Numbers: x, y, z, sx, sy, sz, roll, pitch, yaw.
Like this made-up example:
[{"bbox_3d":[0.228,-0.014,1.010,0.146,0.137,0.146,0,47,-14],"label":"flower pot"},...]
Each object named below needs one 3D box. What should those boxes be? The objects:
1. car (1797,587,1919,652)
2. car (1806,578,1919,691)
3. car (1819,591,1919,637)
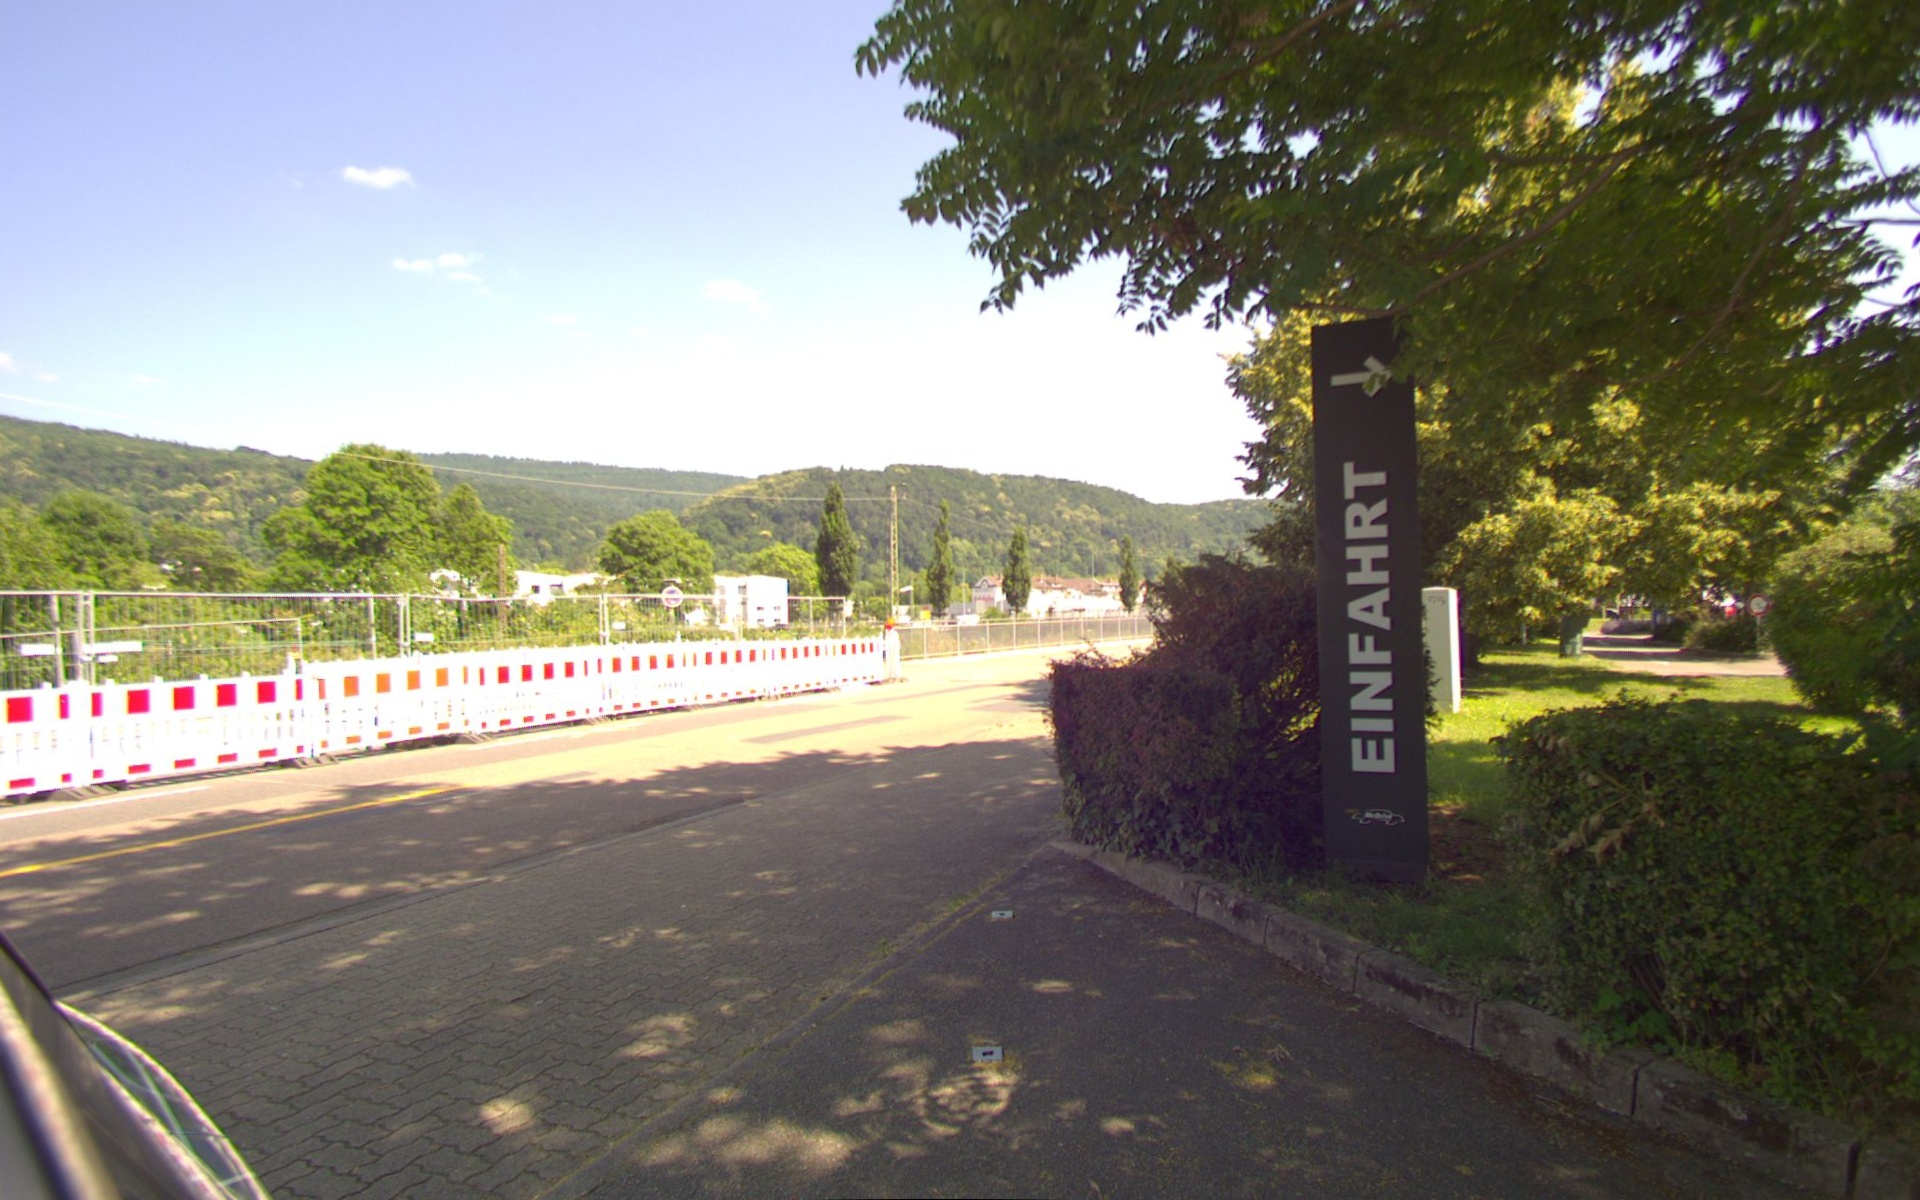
[{"bbox_3d":[26.141,0.511,27.902,4.268,1.698,1.855,-2,-1,12],"label":"car"},{"bbox_3d":[15.943,0.536,16.814,1.852,1.698,4.329,0,0,26],"label":"car"},{"bbox_3d":[33.463,0.489,36.564,1.901,1.564,4.126,-2,-1,12],"label":"car"}]
